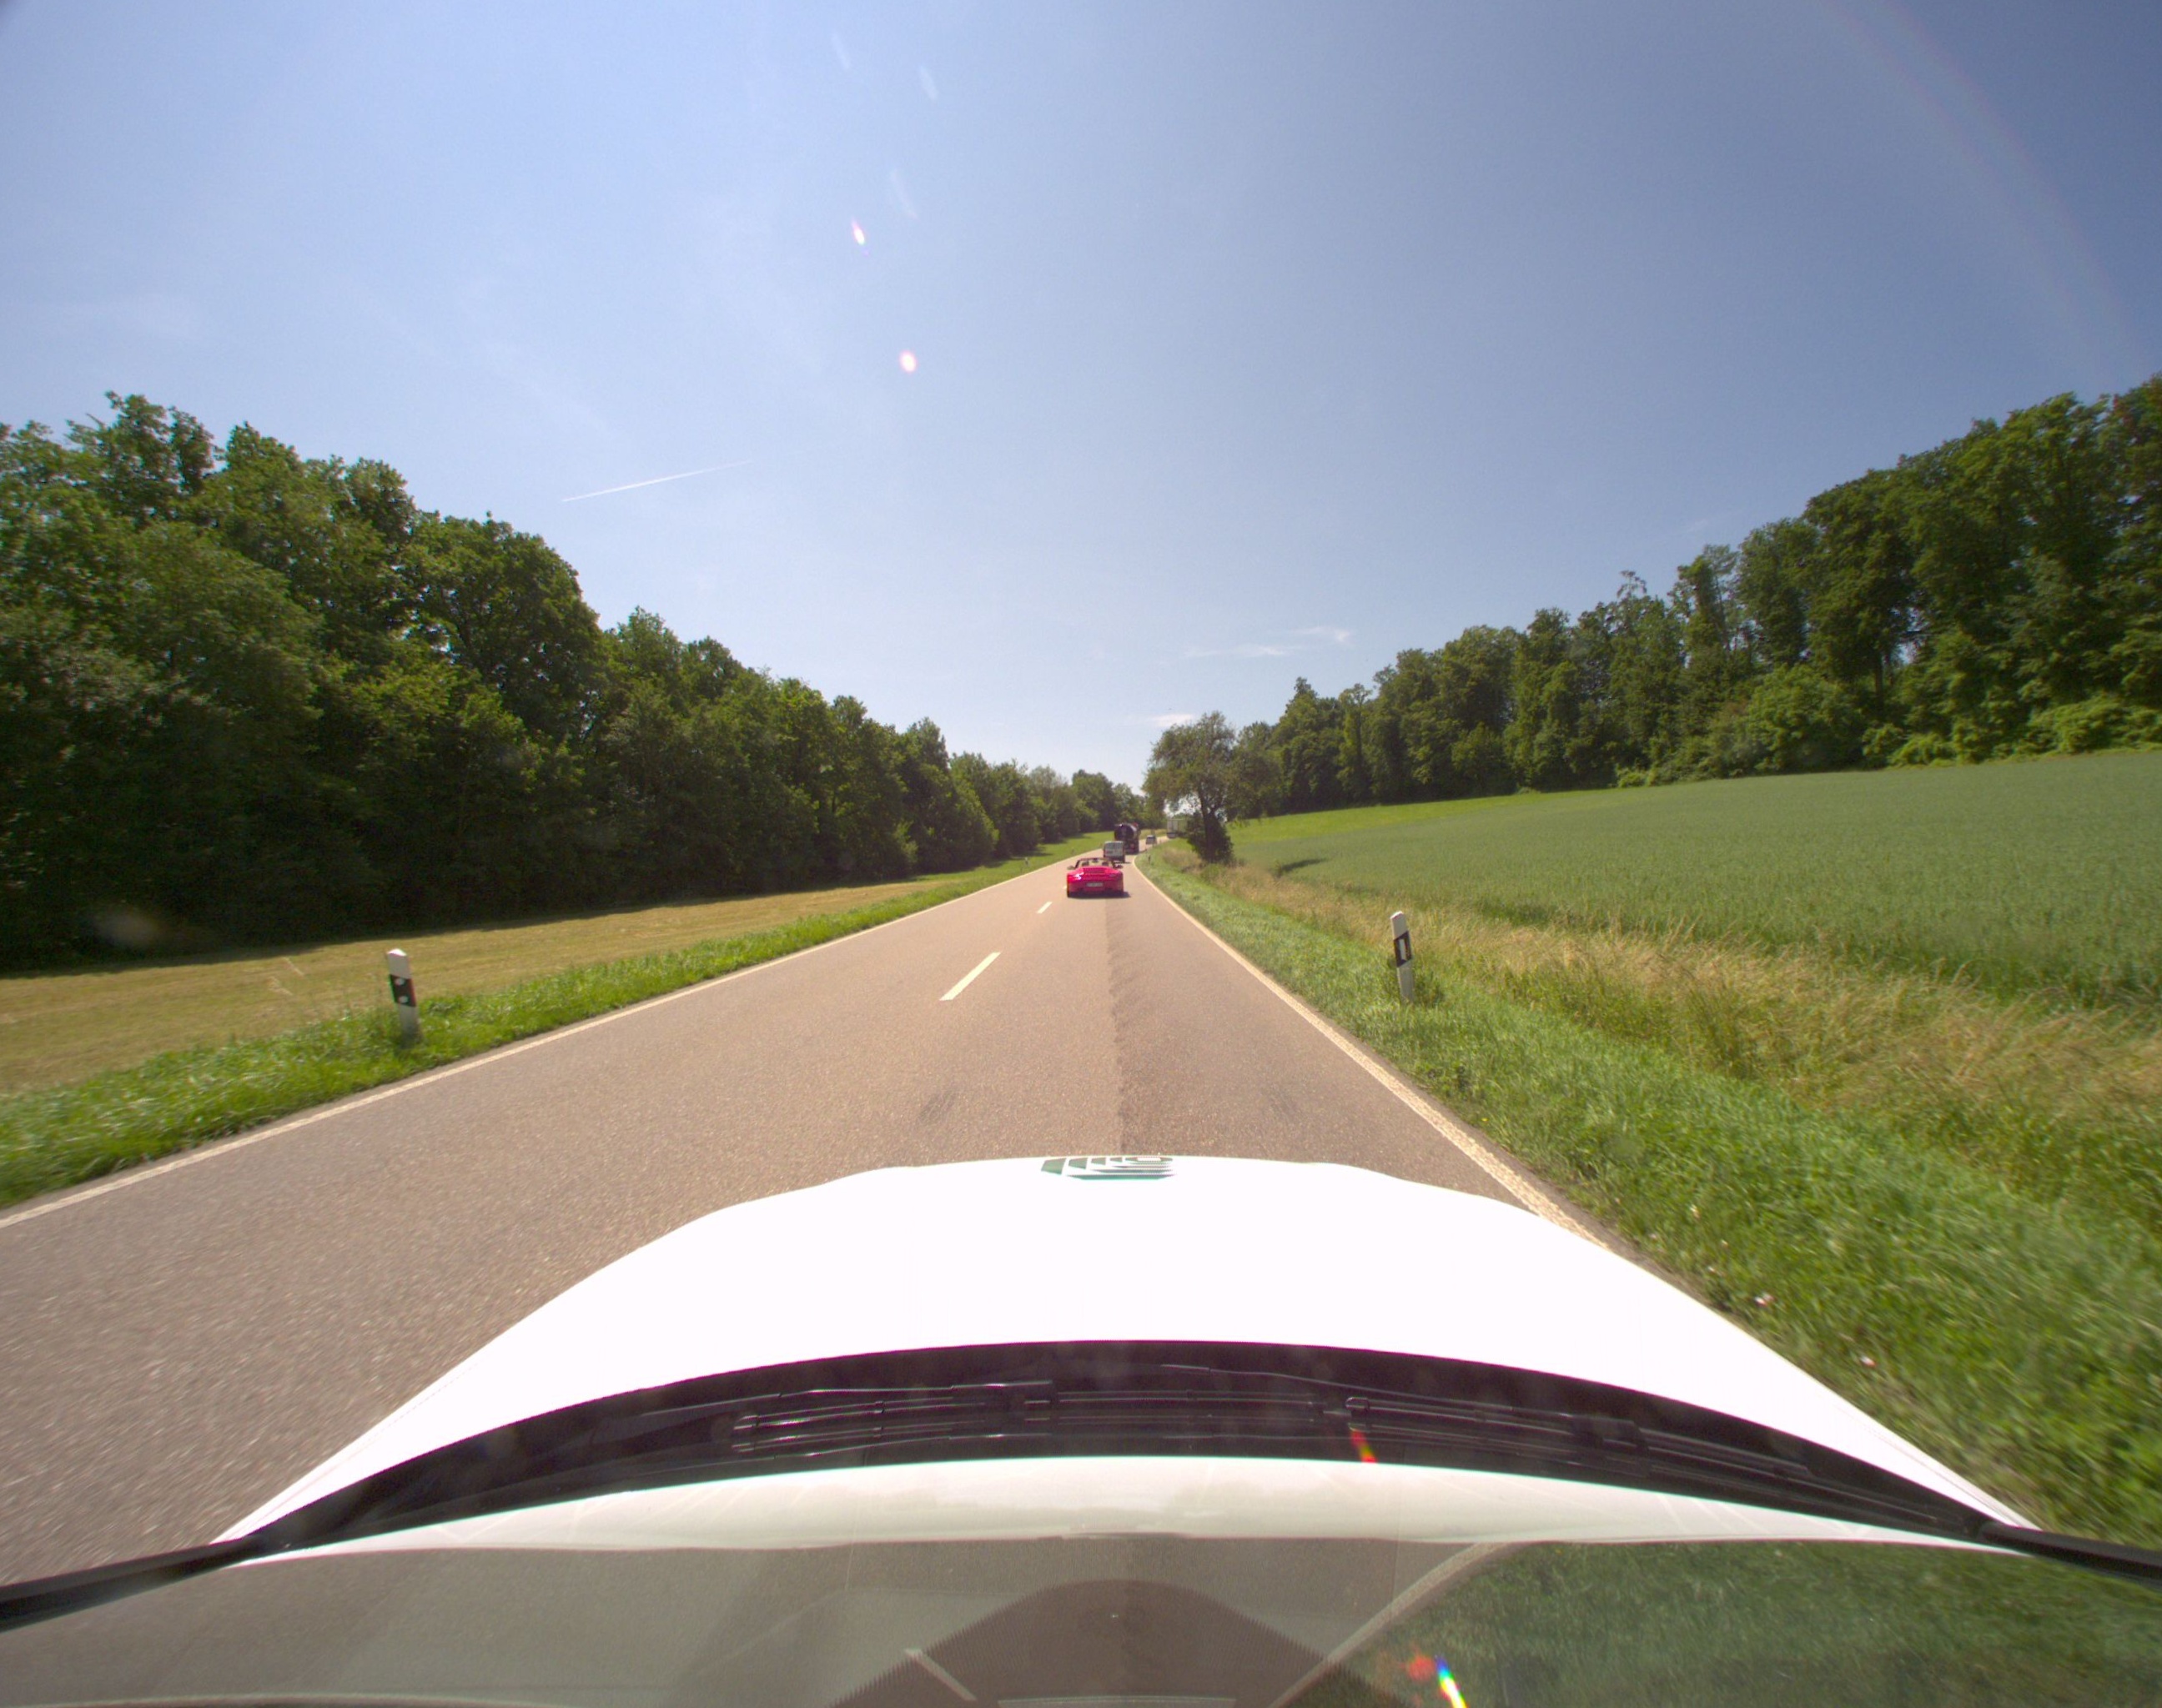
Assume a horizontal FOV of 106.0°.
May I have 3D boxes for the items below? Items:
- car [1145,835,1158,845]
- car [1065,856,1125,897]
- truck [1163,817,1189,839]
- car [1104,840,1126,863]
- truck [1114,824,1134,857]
[{"bbox_3d":[12.571,-2.521,144.345,1.819,1.513,4.205,-1,2,12],"label":"car"},{"bbox_3d":[0.495,0.712,27.569,1.876,1.255,4.011,-1,0,1],"label":"car"},{"bbox_3d":[20.674,-5.705,177.088,3.697,4.659,12.082,-1,2,15],"label":"truck"},{"bbox_3d":[2.985,-0.247,71.742,1.670,1.900,4.016,-1,1,5],"label":"car"},{"bbox_3d":[5.674,-1.743,107.132,2.394,4.049,12.559,1,0,3],"label":"truck"}]
